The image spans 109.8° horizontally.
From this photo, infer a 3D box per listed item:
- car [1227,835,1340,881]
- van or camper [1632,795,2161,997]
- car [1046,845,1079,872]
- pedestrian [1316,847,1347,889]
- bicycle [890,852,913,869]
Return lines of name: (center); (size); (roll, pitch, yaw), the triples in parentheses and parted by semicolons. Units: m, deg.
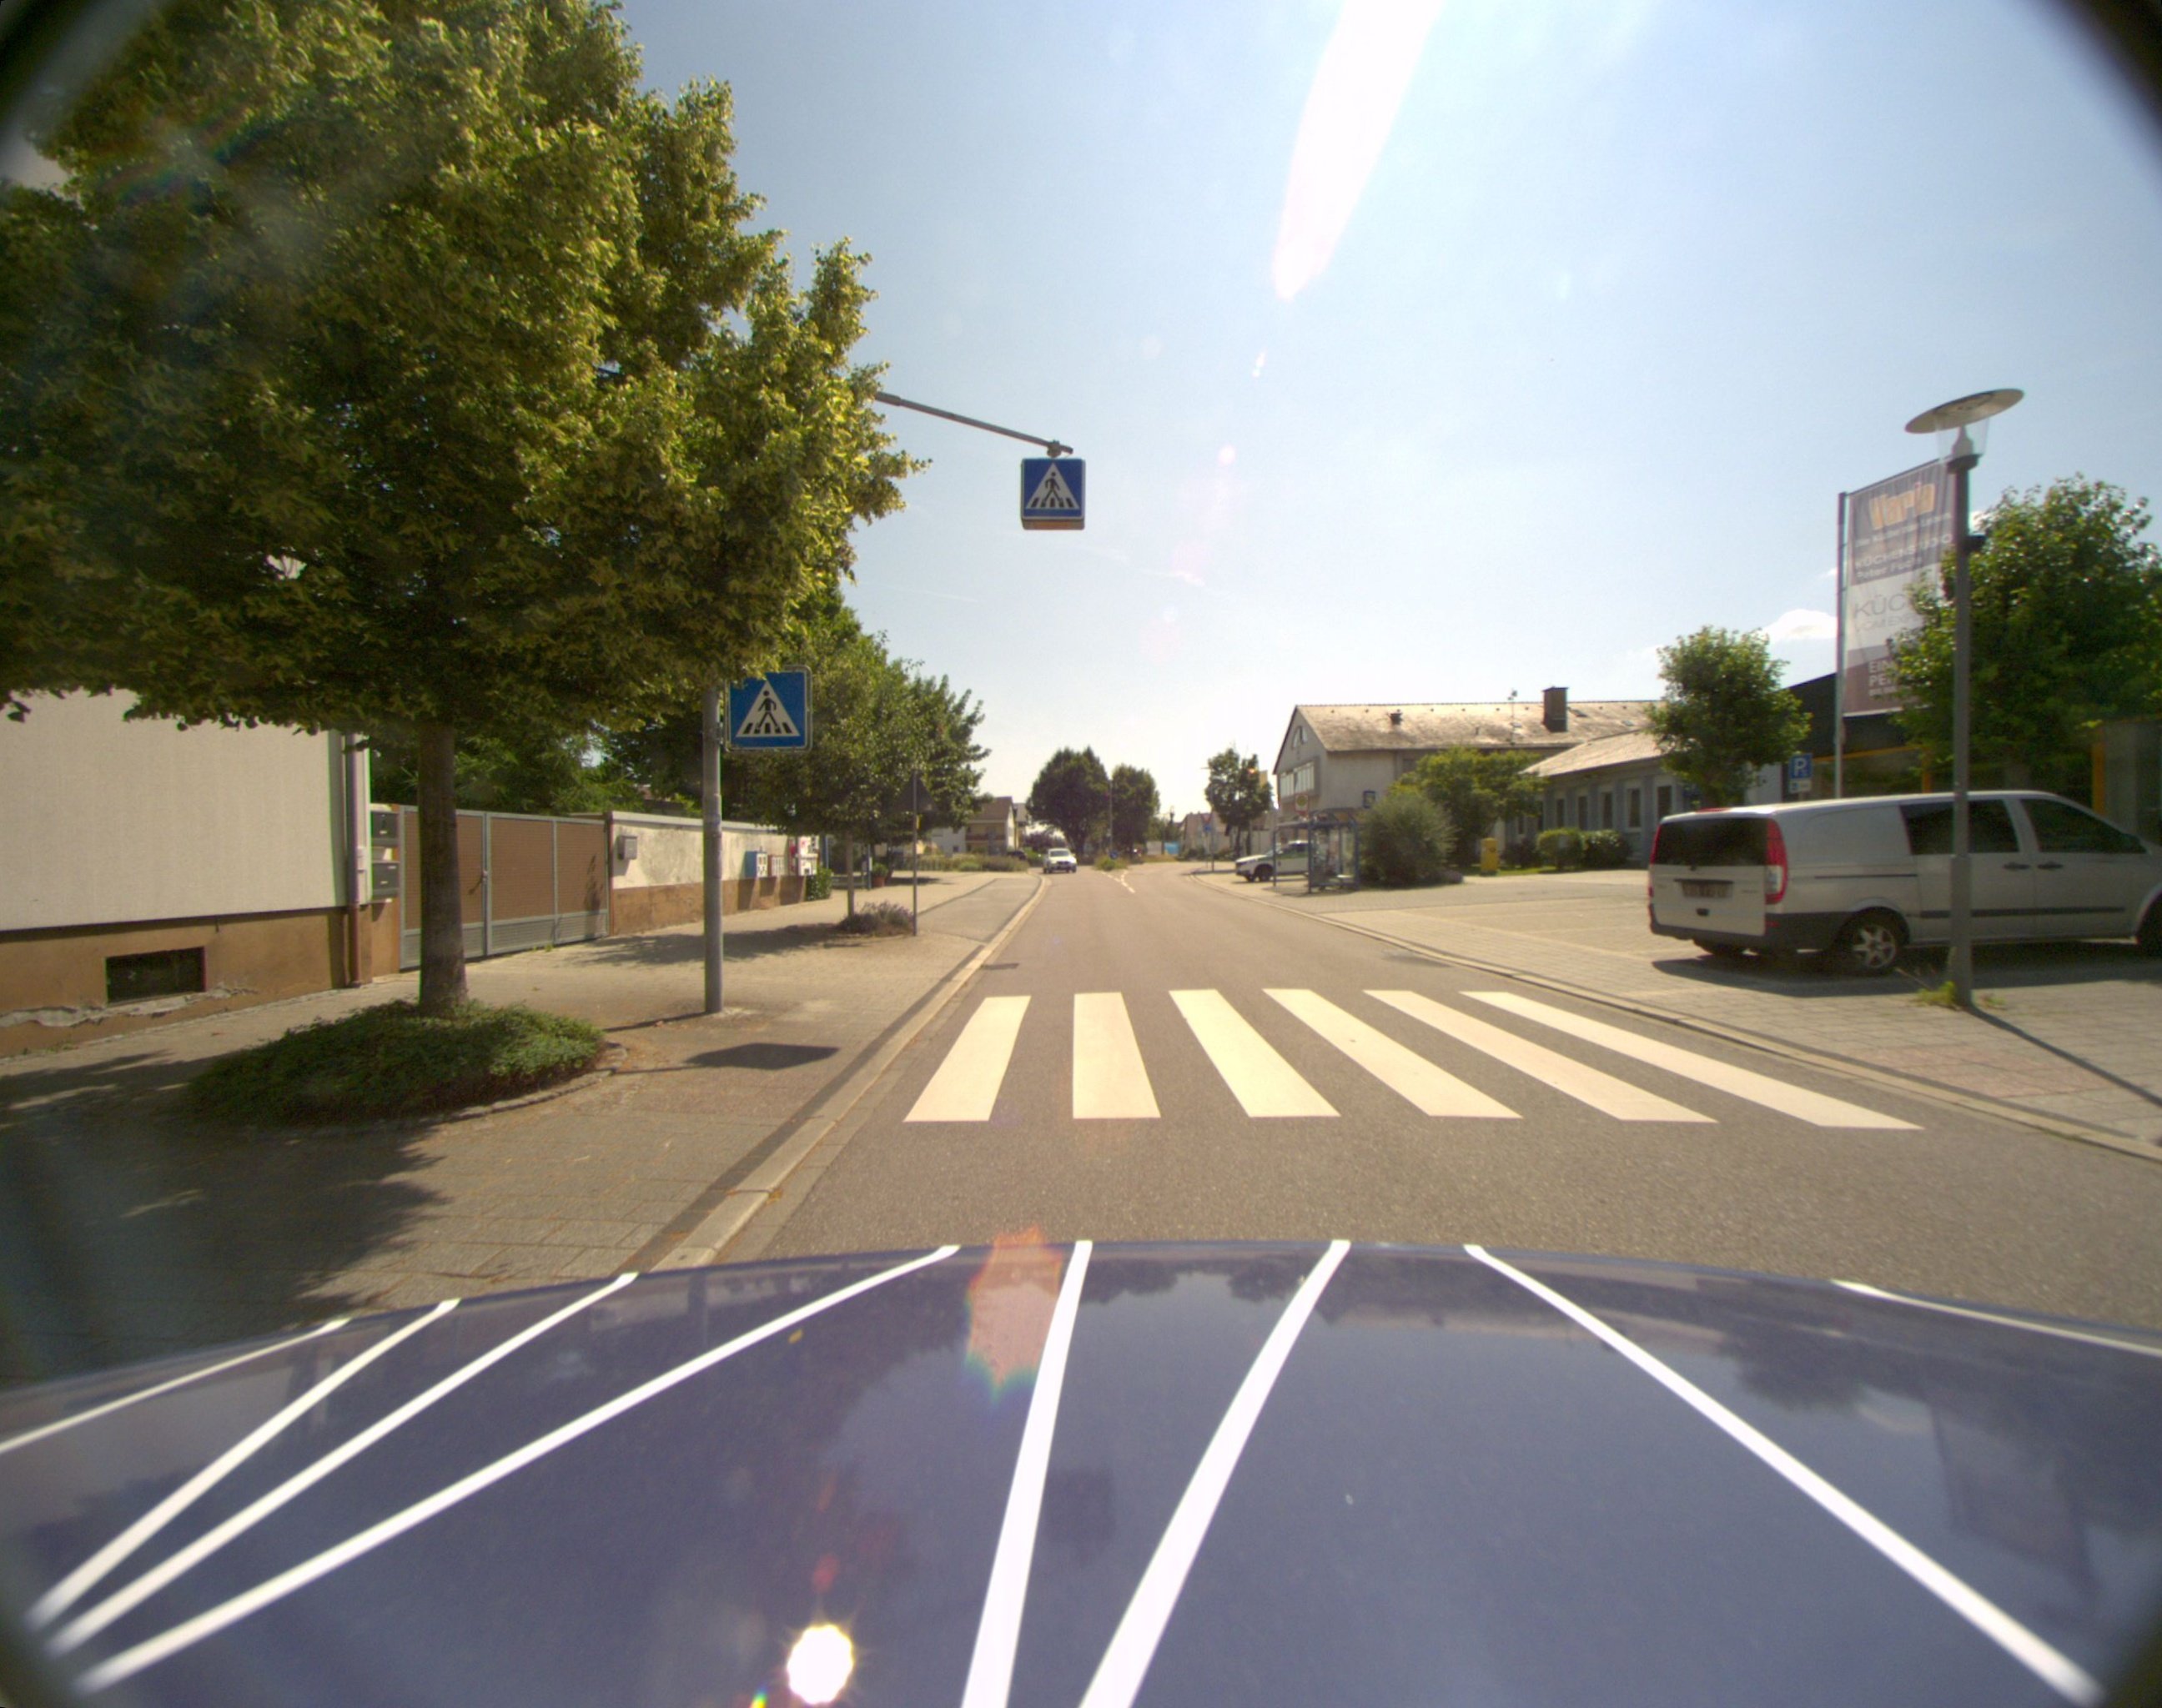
car: (8.716, 0.142, 32.836); (4.251, 1.709, 1.944); (-3, 1, -5)
van or camper: (9.379, 0.396, 8.637); (4.752, 1.852, 2.000); (-3, 0, -1)
car: (-1.262, 0.274, 50.325); (1.858, 1.604, 4.132); (-3, 1, -4)
pedestrian: (8.283, 0.443, 25.132); (0.787, 1.350, 0.607); (-2, 1, 0)
bicycle: (-12.883, 0.446, 54.692); (0.838, 1.105, 2.631); (-1, 1, 4)
